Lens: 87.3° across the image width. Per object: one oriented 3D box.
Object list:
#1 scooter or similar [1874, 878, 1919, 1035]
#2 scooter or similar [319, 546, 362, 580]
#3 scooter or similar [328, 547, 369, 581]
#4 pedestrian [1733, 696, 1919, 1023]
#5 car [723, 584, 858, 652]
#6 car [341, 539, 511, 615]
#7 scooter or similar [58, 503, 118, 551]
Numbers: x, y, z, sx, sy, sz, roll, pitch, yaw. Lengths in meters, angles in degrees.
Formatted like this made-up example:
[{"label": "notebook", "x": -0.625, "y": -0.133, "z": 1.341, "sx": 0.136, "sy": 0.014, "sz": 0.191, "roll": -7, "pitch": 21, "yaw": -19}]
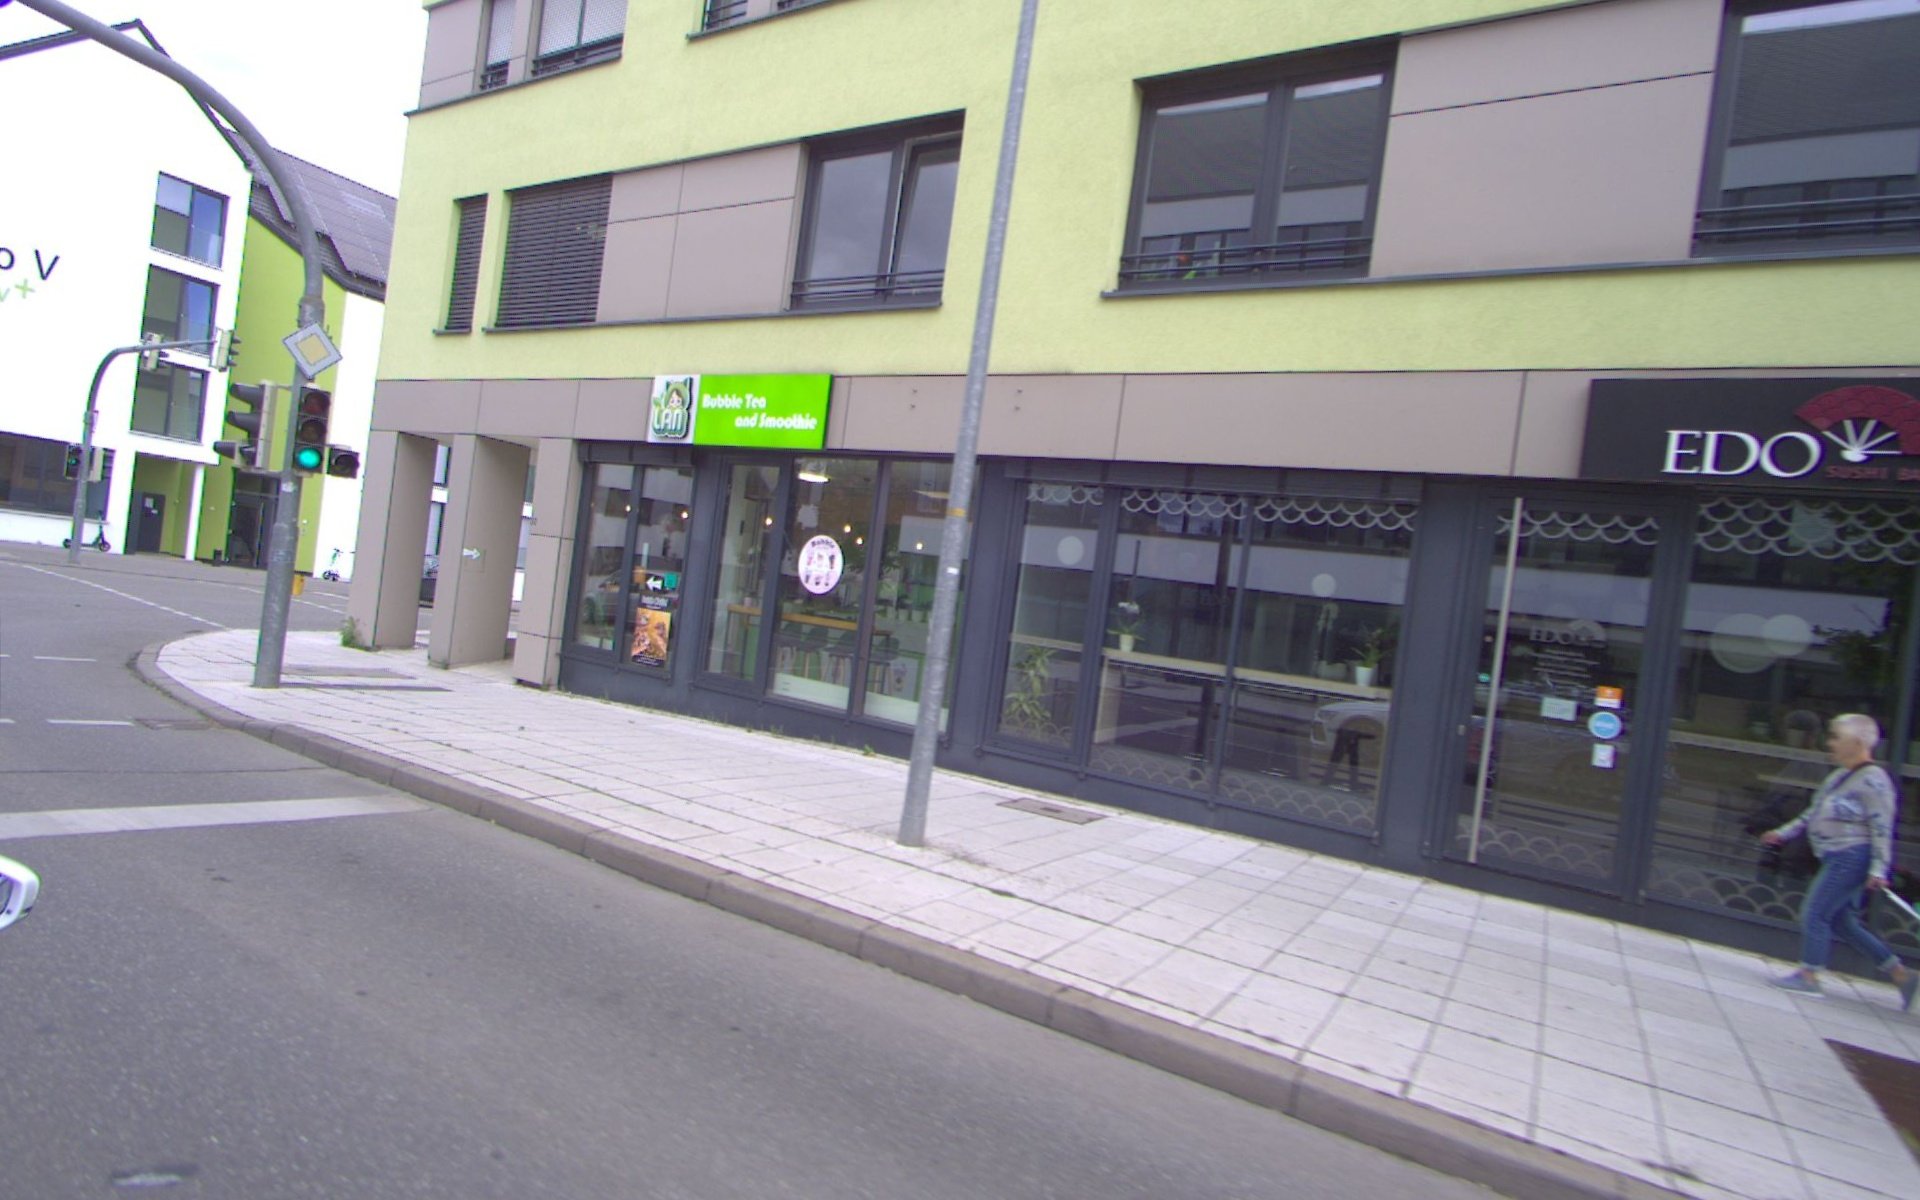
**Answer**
[{"label": "scooter or similar", "x": 5.353, "y": 1.921, "z": 5.156, "sx": 0.810, "sy": 0.681, "sz": 0.592, "roll": 8, "pitch": 2, "yaw": 31}, {"label": "scooter or similar", "x": -23.013, "y": -1.365, "z": 37.387, "sx": 0.358, "sy": 1.092, "sz": 1.228, "roll": 8, "pitch": -1, "yaw": 38}, {"label": "scooter or similar", "x": -22.419, "y": -1.303, "z": 36.888, "sx": 0.357, "sy": 1.092, "sz": 1.233, "roll": 8, "pitch": -1, "yaw": 20}, {"label": "pedestrian", "x": 4.916, "y": 1.400, "z": 5.691, "sx": 0.593, "sy": 1.614, "sz": 0.696, "roll": 8, "pitch": 2, "yaw": 31}, {"label": "car", "x": -5.520, "y": 0.643, "z": 33.309, "sx": 1.936, "sy": 1.634, "sz": 4.421, "roll": 8, "pitch": -2, "yaw": 29}, {"label": "car", "x": -16.420, "y": -0.672, "z": 31.109, "sx": 1.920, "sy": 1.678, "sz": 4.096, "roll": 8, "pitch": -2, "yaw": 32}, {"label": "scooter or similar", "x": -27.032, "y": -2.259, "z": 31.194, "sx": 0.400, "sy": 1.249, "sz": 1.232, "roll": 8, "pitch": -1, "yaw": 32}]
